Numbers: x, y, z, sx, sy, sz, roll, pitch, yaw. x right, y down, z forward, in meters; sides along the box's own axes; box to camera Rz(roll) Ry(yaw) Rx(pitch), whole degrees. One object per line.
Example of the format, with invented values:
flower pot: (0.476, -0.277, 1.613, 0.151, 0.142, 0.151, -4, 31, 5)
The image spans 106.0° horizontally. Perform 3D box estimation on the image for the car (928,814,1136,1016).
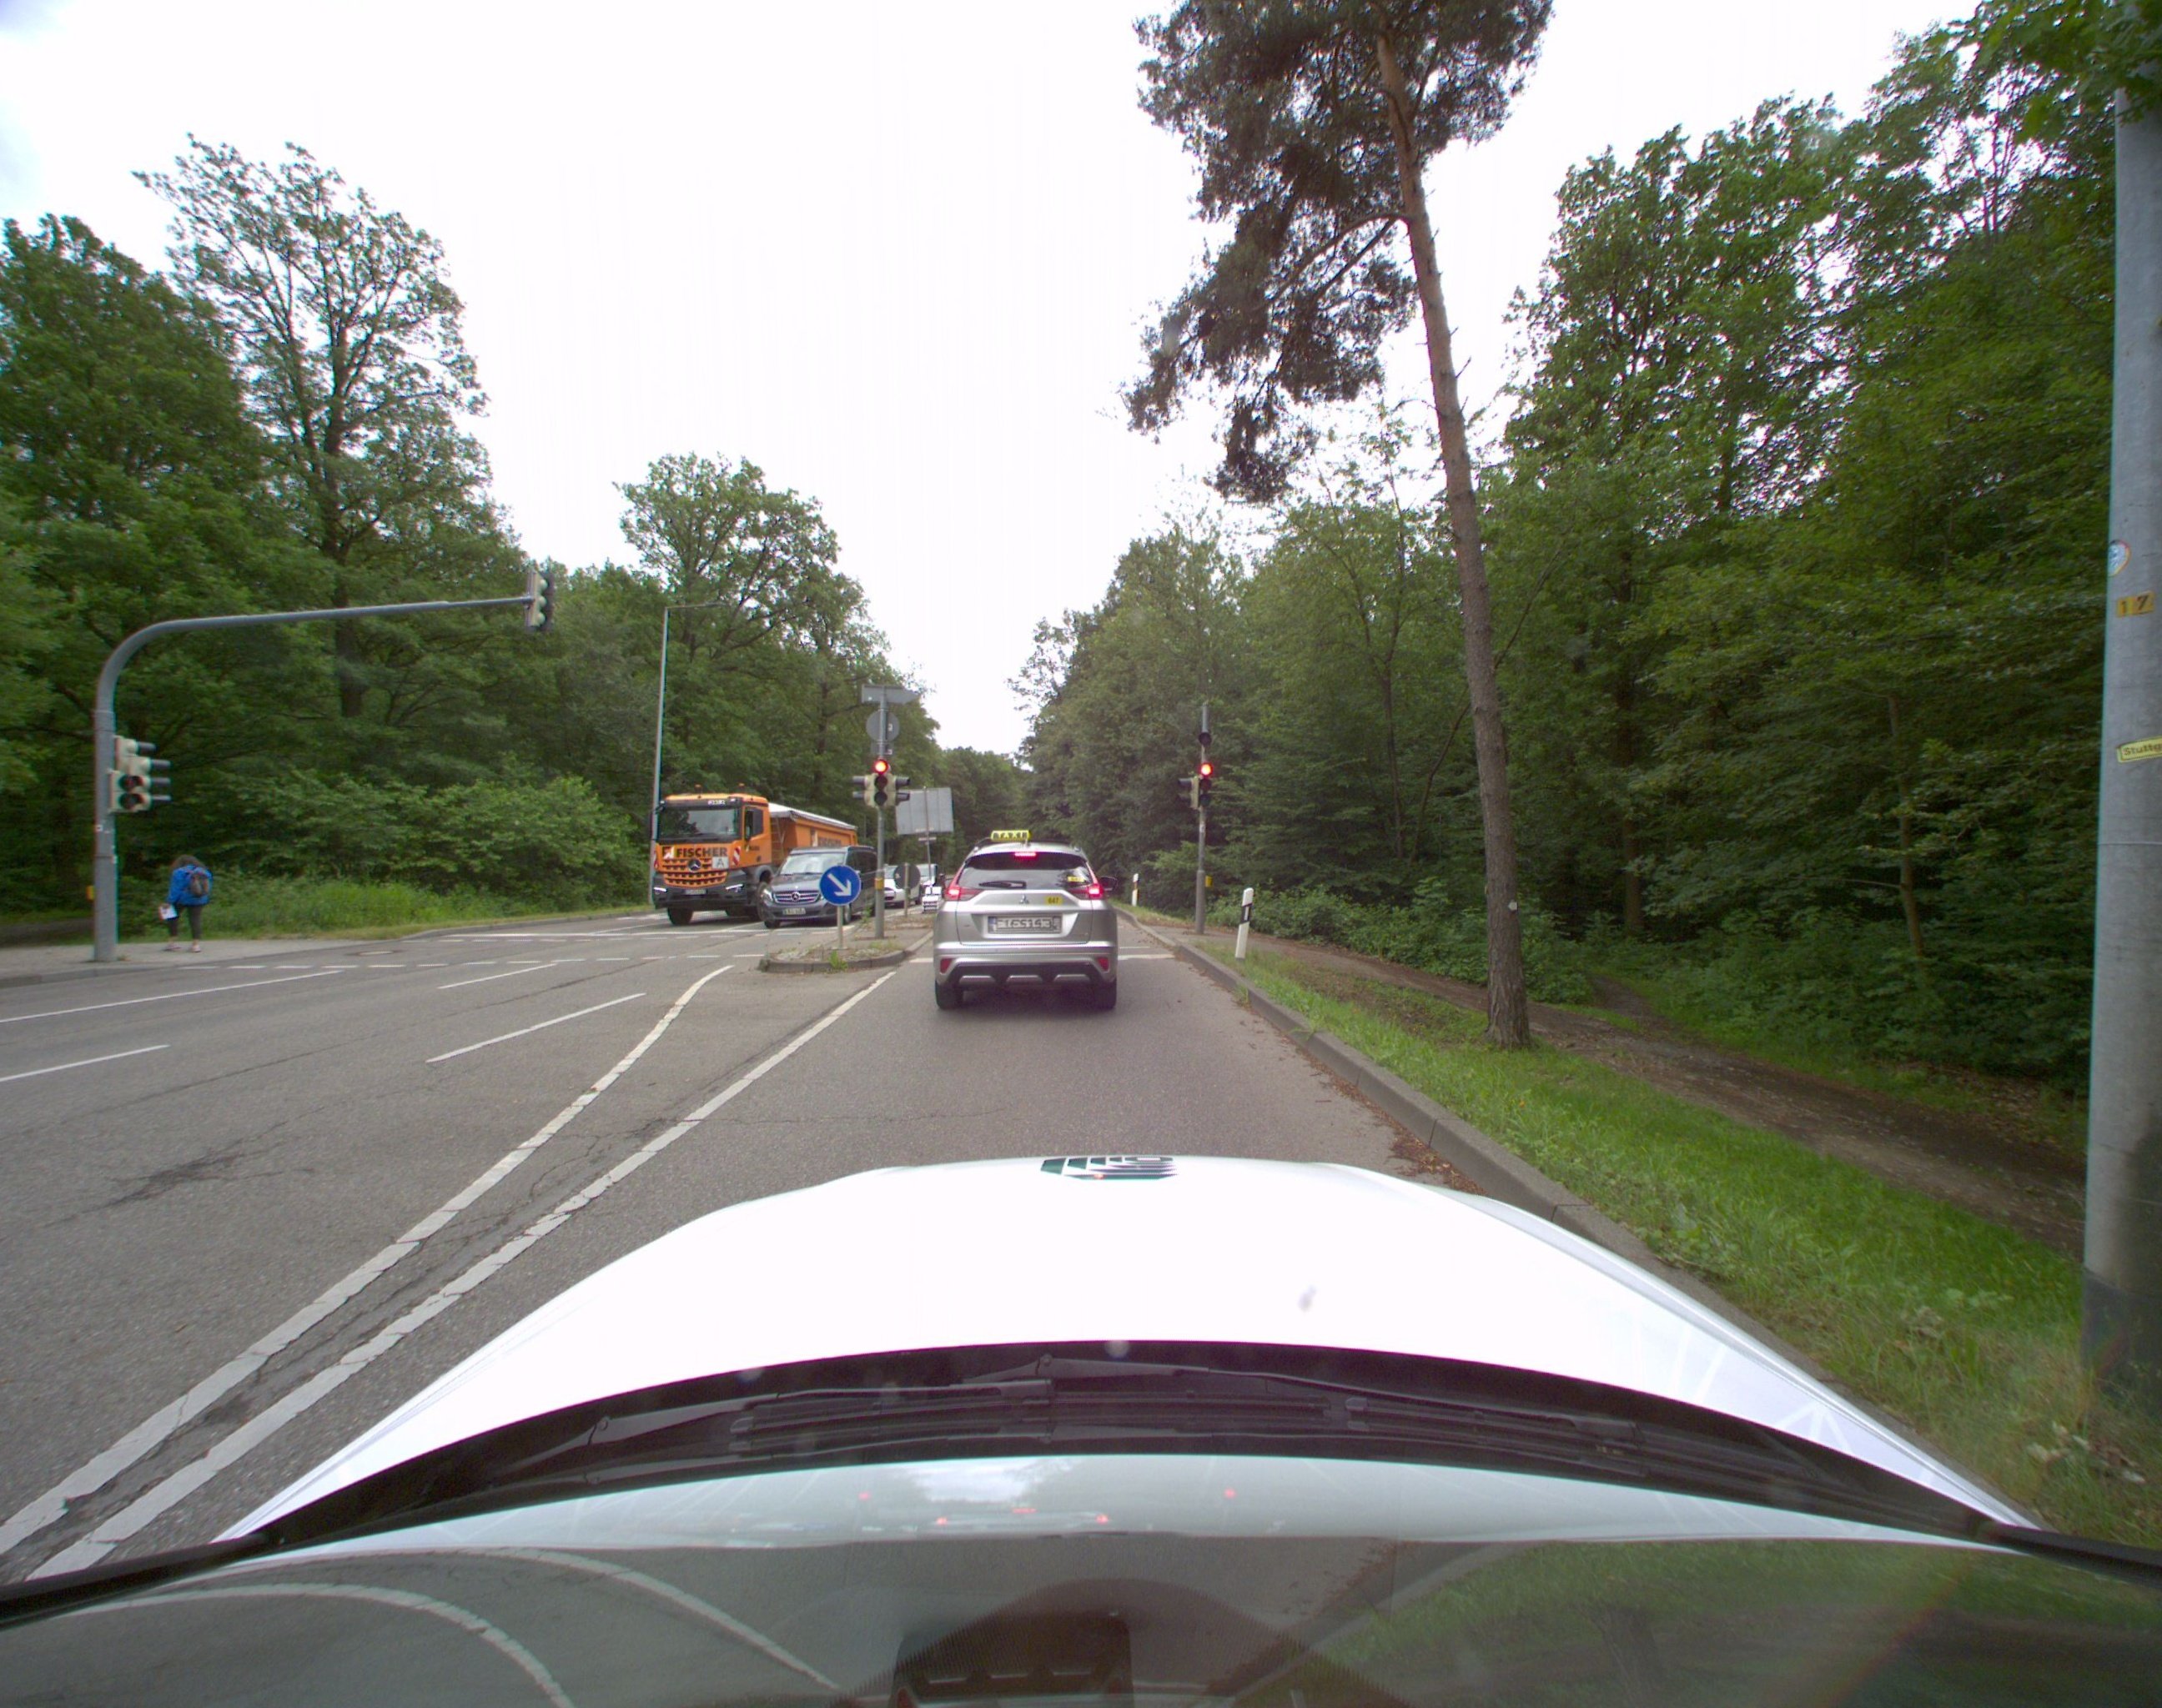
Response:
car: (-0.534, 0.545, 9.246, 1.842, 1.780, 3.995, 0, 0, -3)

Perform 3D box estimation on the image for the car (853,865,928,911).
car: (-6.396, 1.095, 27.710, 1.607, 1.321, 3.720, -3, 0, -1)

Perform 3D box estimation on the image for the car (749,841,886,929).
car: (-6.463, 0.721, 20.623, 1.988, 1.894, 4.835, -2, -1, -2)

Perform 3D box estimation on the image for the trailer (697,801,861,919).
trailer: (-9.790, 0.243, 27.610, 2.733, 3.318, 8.558, -2, -1, -3)

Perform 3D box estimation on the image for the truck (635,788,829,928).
truck: (-9.552, 0.155, 23.287, 2.733, 3.318, 7.150, -2, -1, -3)

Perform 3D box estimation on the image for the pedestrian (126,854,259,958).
pedestrian: (-15.231, 0.859, 13.995, 1.042, 1.649, 1.070, 3, 1, 5)

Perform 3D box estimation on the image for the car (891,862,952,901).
car: (-6.689, 1.130, 34.599, 1.806, 1.508, 3.720, -3, -1, -1)
